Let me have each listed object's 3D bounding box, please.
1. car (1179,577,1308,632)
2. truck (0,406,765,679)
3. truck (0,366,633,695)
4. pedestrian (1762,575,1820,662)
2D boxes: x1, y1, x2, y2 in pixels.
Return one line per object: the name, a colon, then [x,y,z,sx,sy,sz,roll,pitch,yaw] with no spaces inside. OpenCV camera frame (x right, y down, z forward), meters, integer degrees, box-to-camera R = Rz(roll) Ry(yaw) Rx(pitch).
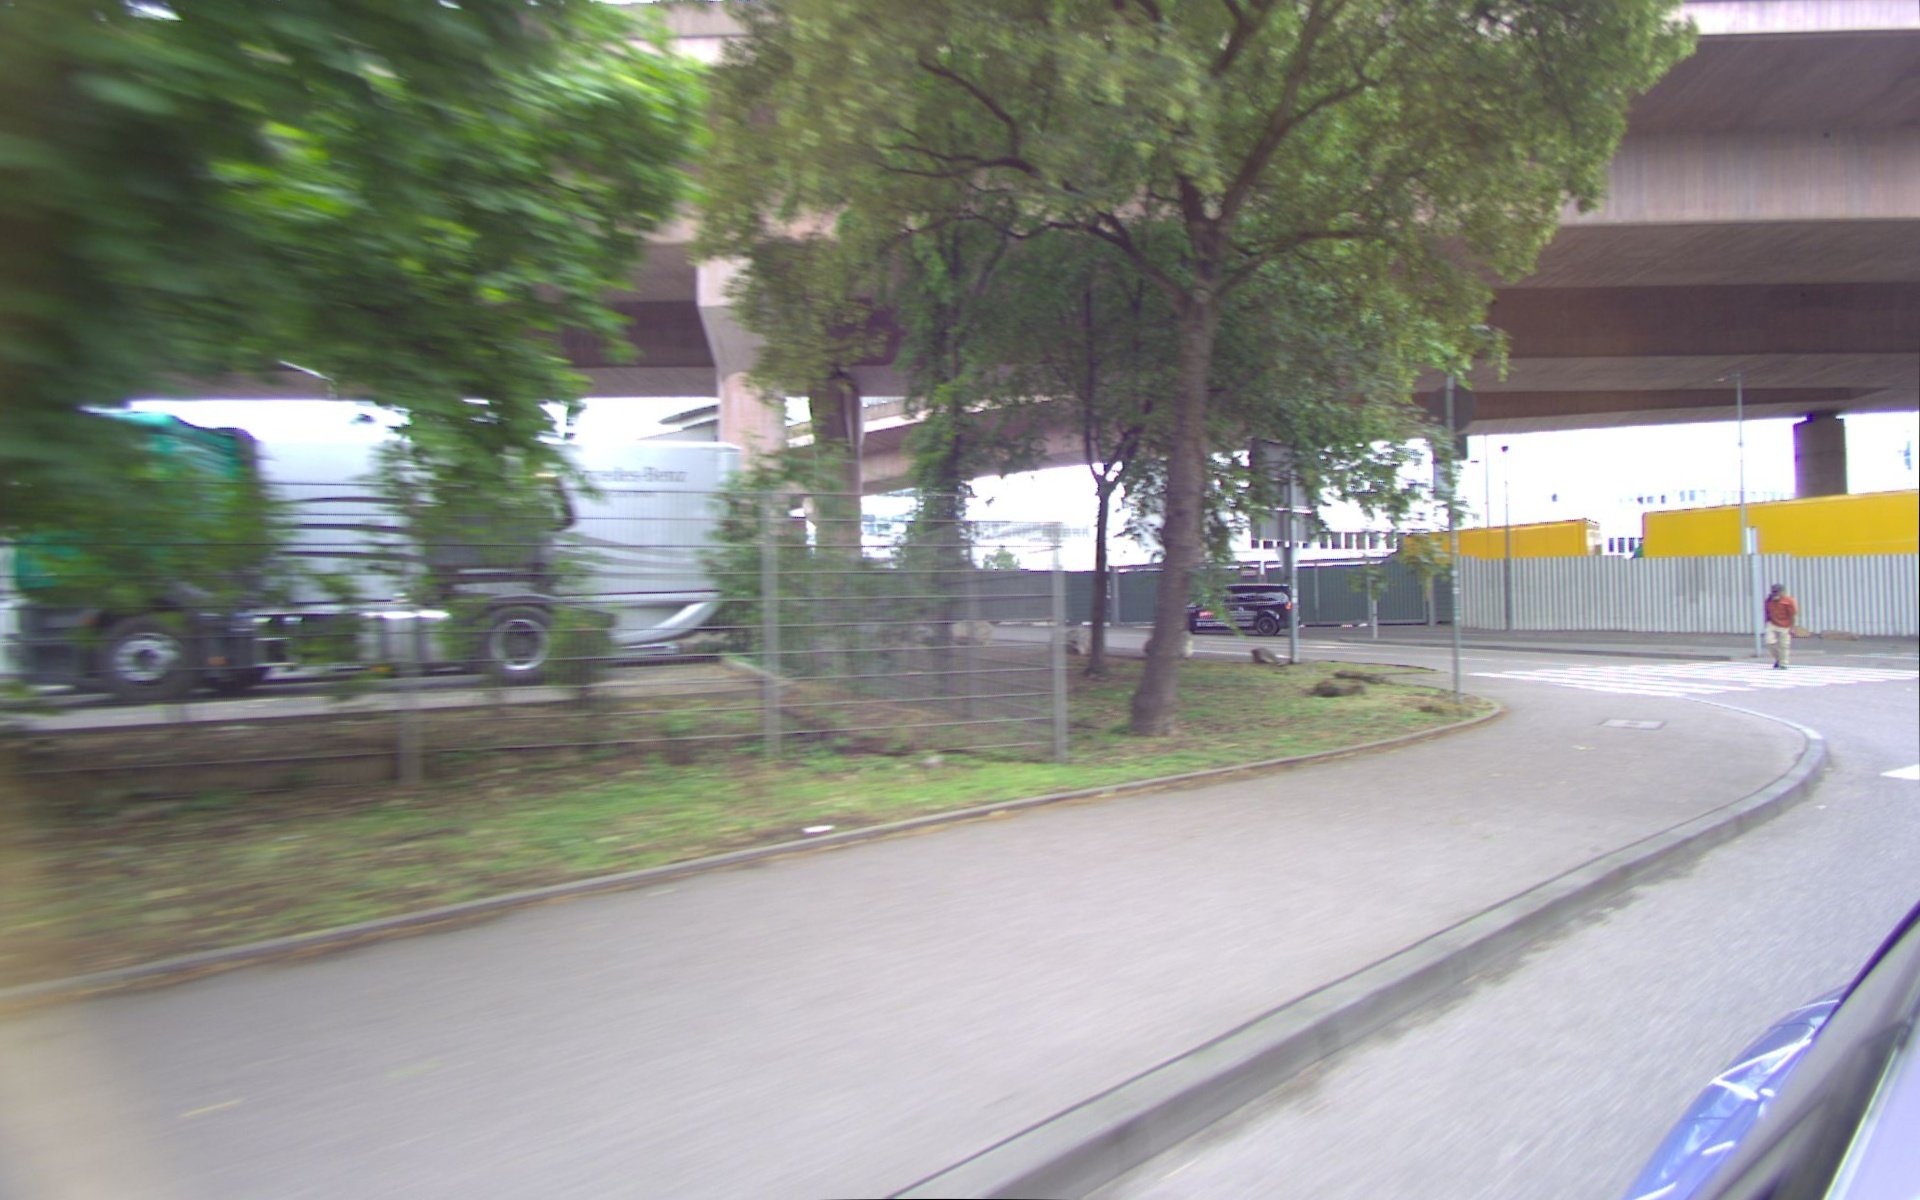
car: [9.534,0.106,33.995,3.957,1.654,1.785,2,2,24]
truck: [-8.198,-0.788,15.613,10.001,3.542,2.275,0,0,-17]
truck: [-7.399,-0.765,12.483,6.278,3.451,2.275,0,0,-15]
pedestrian: [16.653,0.357,20.285,0.840,1.702,0.753,0,0,-41]
